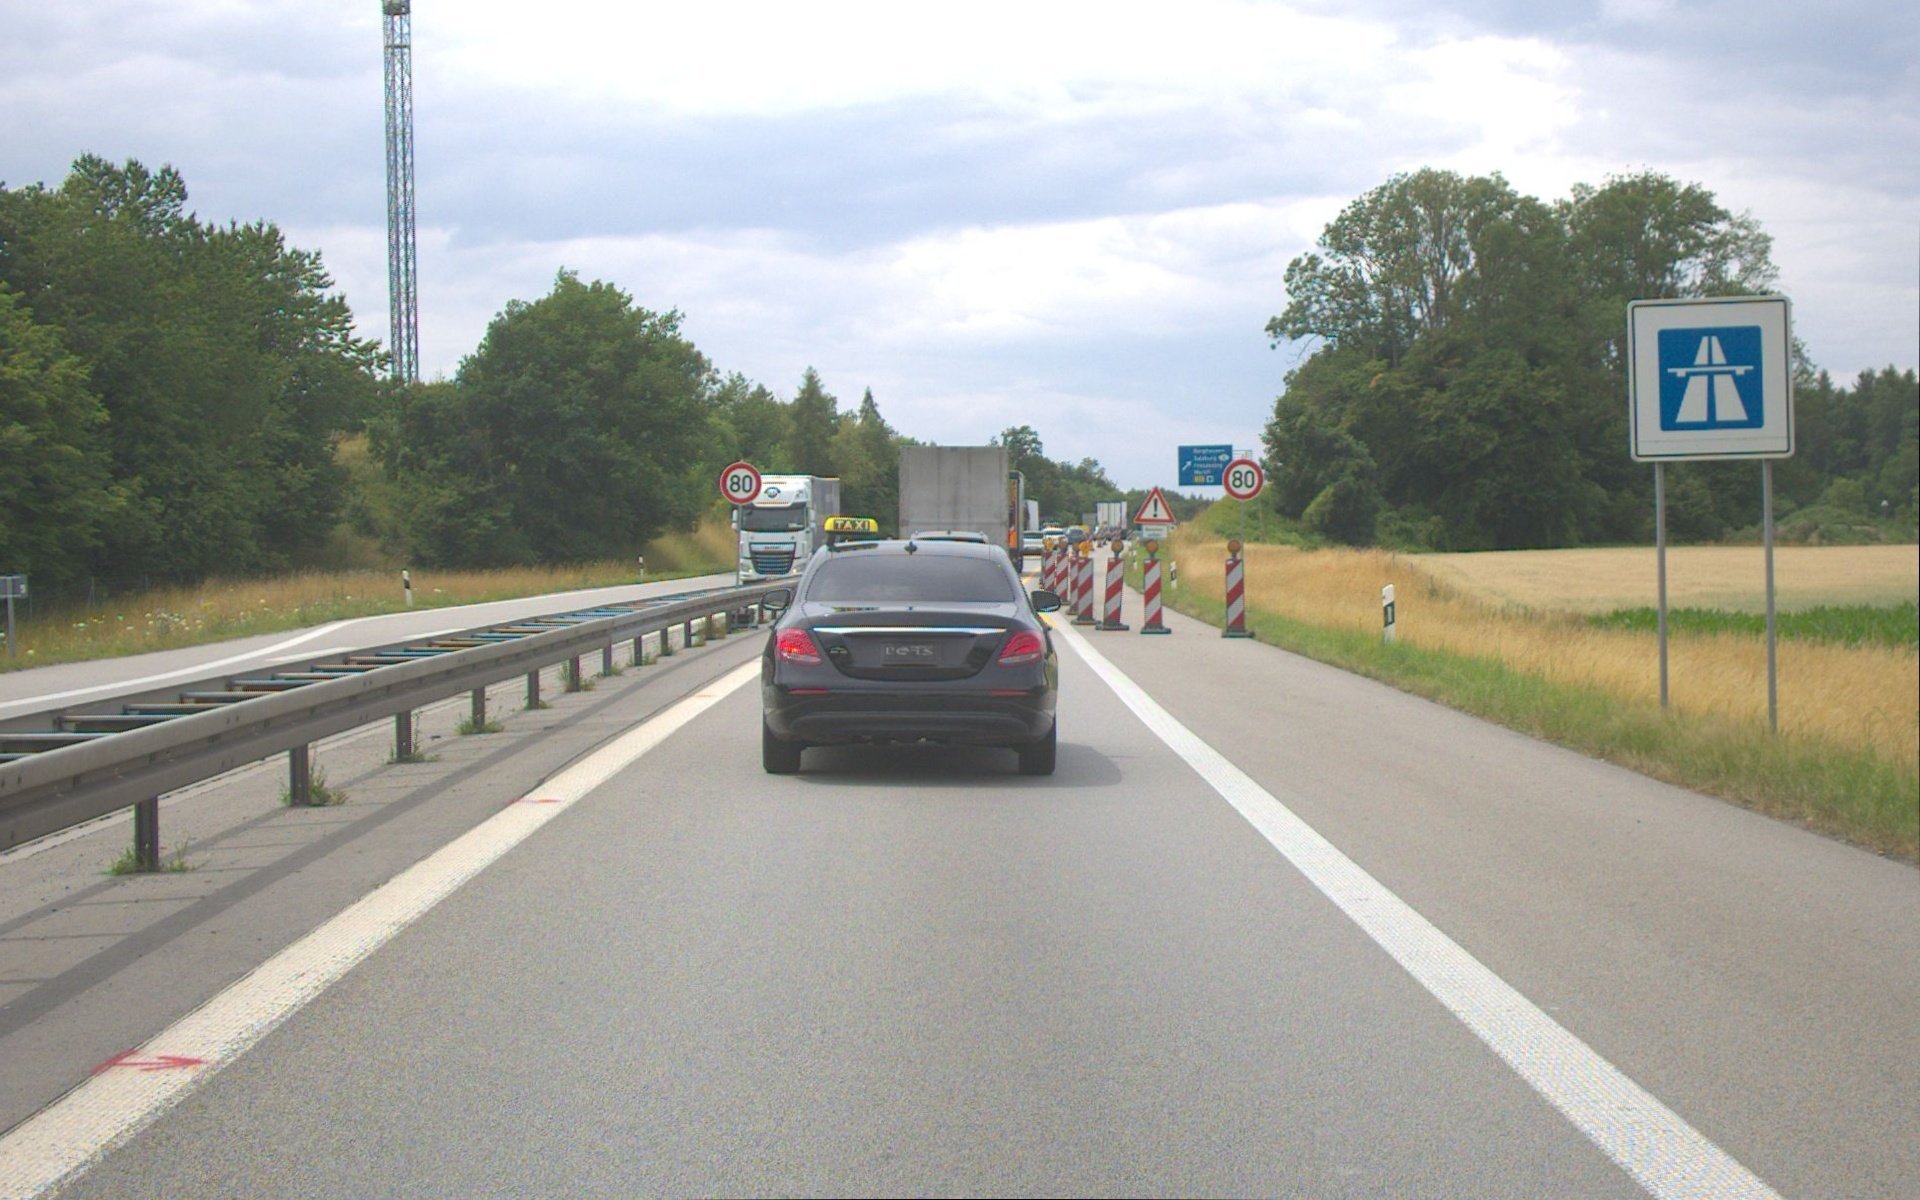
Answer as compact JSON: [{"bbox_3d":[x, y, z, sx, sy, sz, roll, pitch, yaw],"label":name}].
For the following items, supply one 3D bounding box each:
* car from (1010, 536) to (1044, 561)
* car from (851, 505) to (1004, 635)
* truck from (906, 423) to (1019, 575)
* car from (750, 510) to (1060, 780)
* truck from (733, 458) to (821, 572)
[{"bbox_3d":[3.800,-2.934,196.270,1.649,1.391,3.706,1,1,-3],"label":"car"},{"bbox_3d":[-0.574,-0.495,55.804,1.993,2.007,4.001,1,1,-8],"label":"car"},{"bbox_3d":[0.059,-2.375,82.398,2.587,3.512,4.813,1,1,0],"label":"truck"},{"bbox_3d":[-0.344,0.244,22.118,1.795,1.554,4.000,1,1,-1],"label":"car"},{"bbox_3d":[-6.773,-3.117,128.191,2.799,4.128,7.229,1,1,1],"label":"truck"}]
